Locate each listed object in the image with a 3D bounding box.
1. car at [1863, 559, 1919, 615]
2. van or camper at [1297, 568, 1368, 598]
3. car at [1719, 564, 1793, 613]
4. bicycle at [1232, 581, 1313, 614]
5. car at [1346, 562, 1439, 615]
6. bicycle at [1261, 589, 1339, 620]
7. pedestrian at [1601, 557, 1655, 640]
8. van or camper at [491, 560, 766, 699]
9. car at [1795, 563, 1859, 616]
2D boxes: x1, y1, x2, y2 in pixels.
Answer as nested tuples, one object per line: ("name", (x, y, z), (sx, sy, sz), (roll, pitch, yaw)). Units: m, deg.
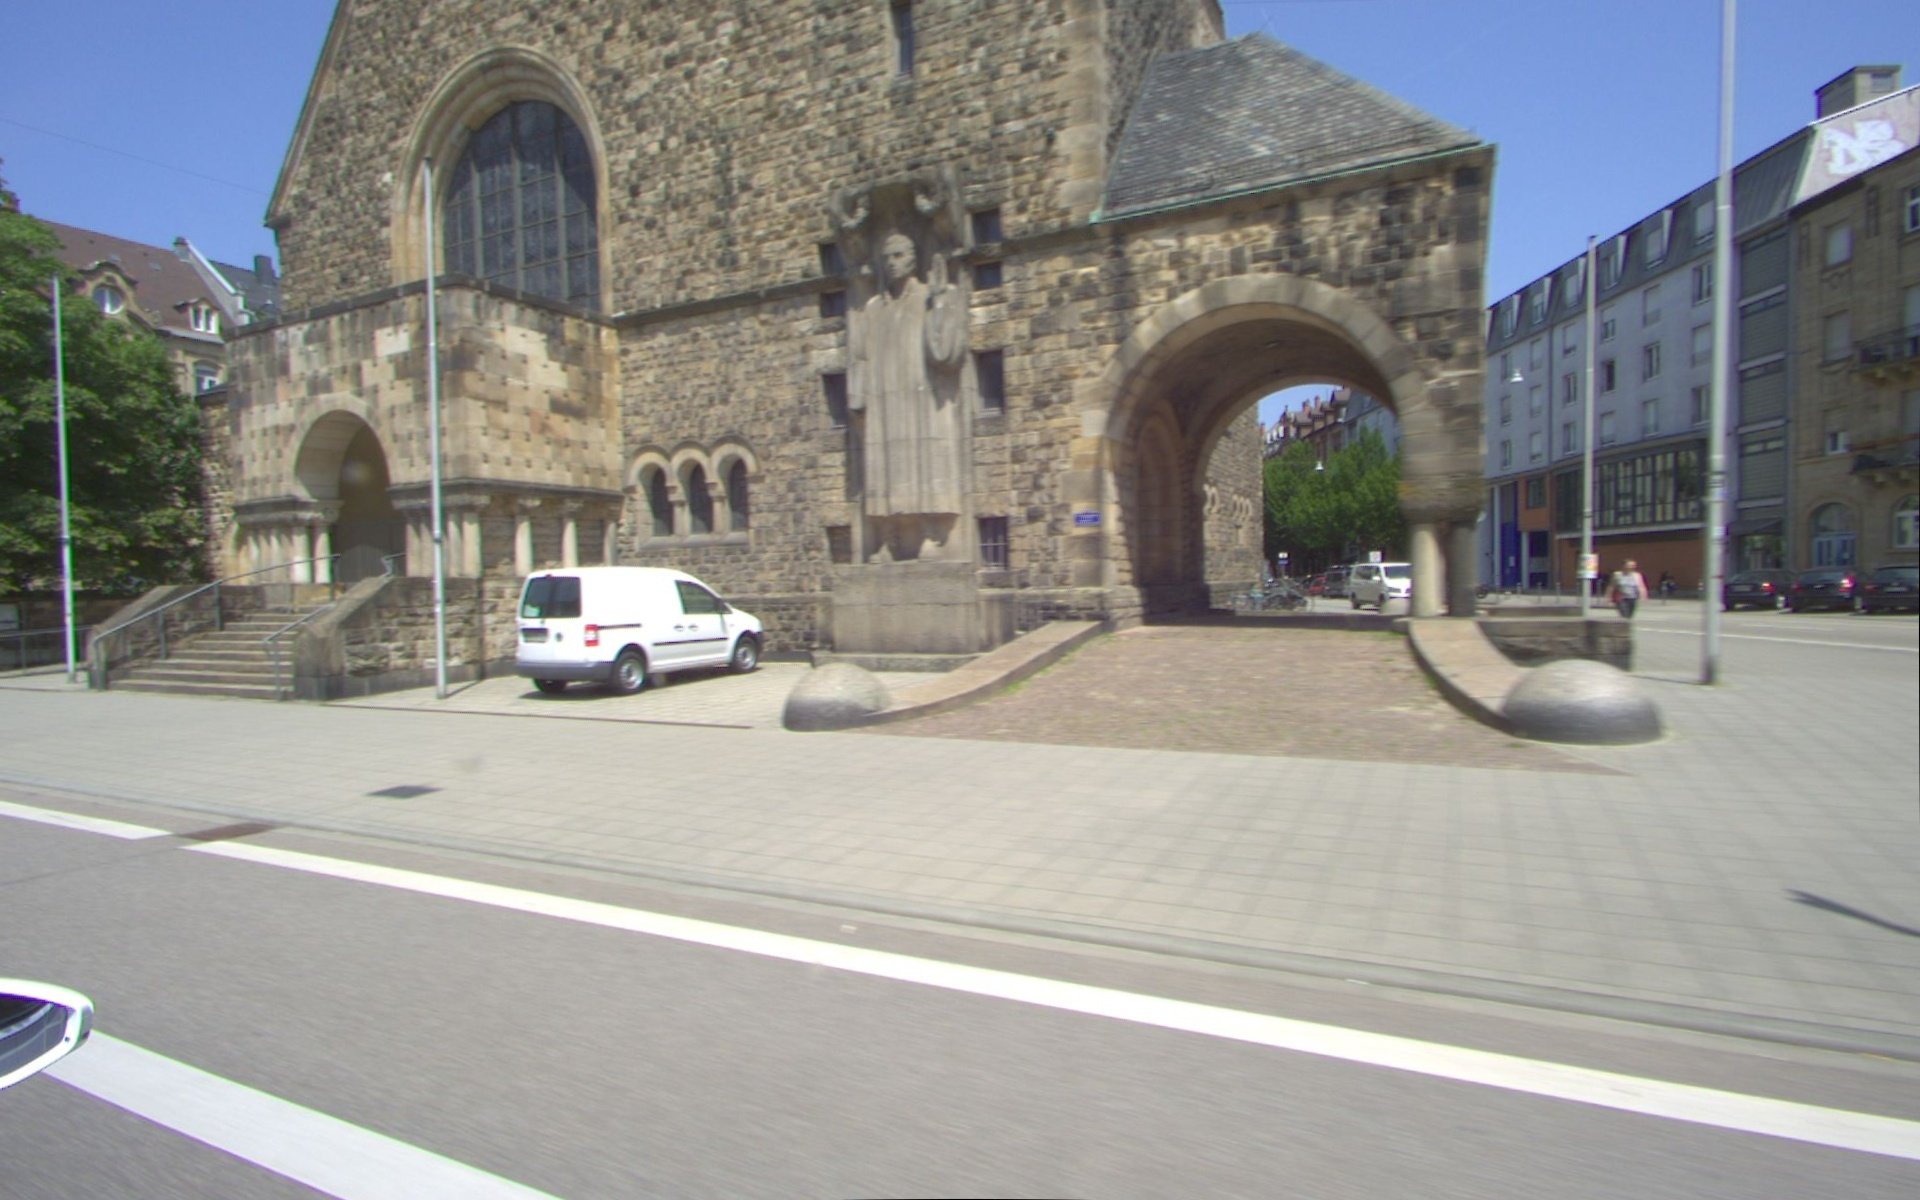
("car", (29.130, -0.436, 30.810), (3.191, 1.595, 1.603), (-3, 0, -41))
("van or camper", (24.877, -1.148, 66.826), (4.256, 1.862, 1.993), (-2, 1, -24))
("car", (28.945, -0.426, 36.383), (3.193, 1.595, 1.602), (-3, 0, -43))
("bicycle", (10.284, -0.083, 32.959), (2.461, 1.025, 0.703), (-1, 1, 29))
("car", (17.697, -0.473, 41.261), (2.005, 2.031, 4.966), (-1, 1, 5))
("bicycle", (11.812, 0.168, 34.822), (2.461, 1.025, 0.703), (-1, 1, 29))
("pedestrian", (13.072, -0.022, 19.609), (0.708, 1.579, 0.790), (-1, 1, 21))
("van or camper", (-4.997, 0.338, 15.703), (1.774, 1.850, 3.983), (-1, 2, 26))
("car", (29.015, -0.377, 33.491), (1.481, 1.595, 3.197), (-4, 0, 42))
